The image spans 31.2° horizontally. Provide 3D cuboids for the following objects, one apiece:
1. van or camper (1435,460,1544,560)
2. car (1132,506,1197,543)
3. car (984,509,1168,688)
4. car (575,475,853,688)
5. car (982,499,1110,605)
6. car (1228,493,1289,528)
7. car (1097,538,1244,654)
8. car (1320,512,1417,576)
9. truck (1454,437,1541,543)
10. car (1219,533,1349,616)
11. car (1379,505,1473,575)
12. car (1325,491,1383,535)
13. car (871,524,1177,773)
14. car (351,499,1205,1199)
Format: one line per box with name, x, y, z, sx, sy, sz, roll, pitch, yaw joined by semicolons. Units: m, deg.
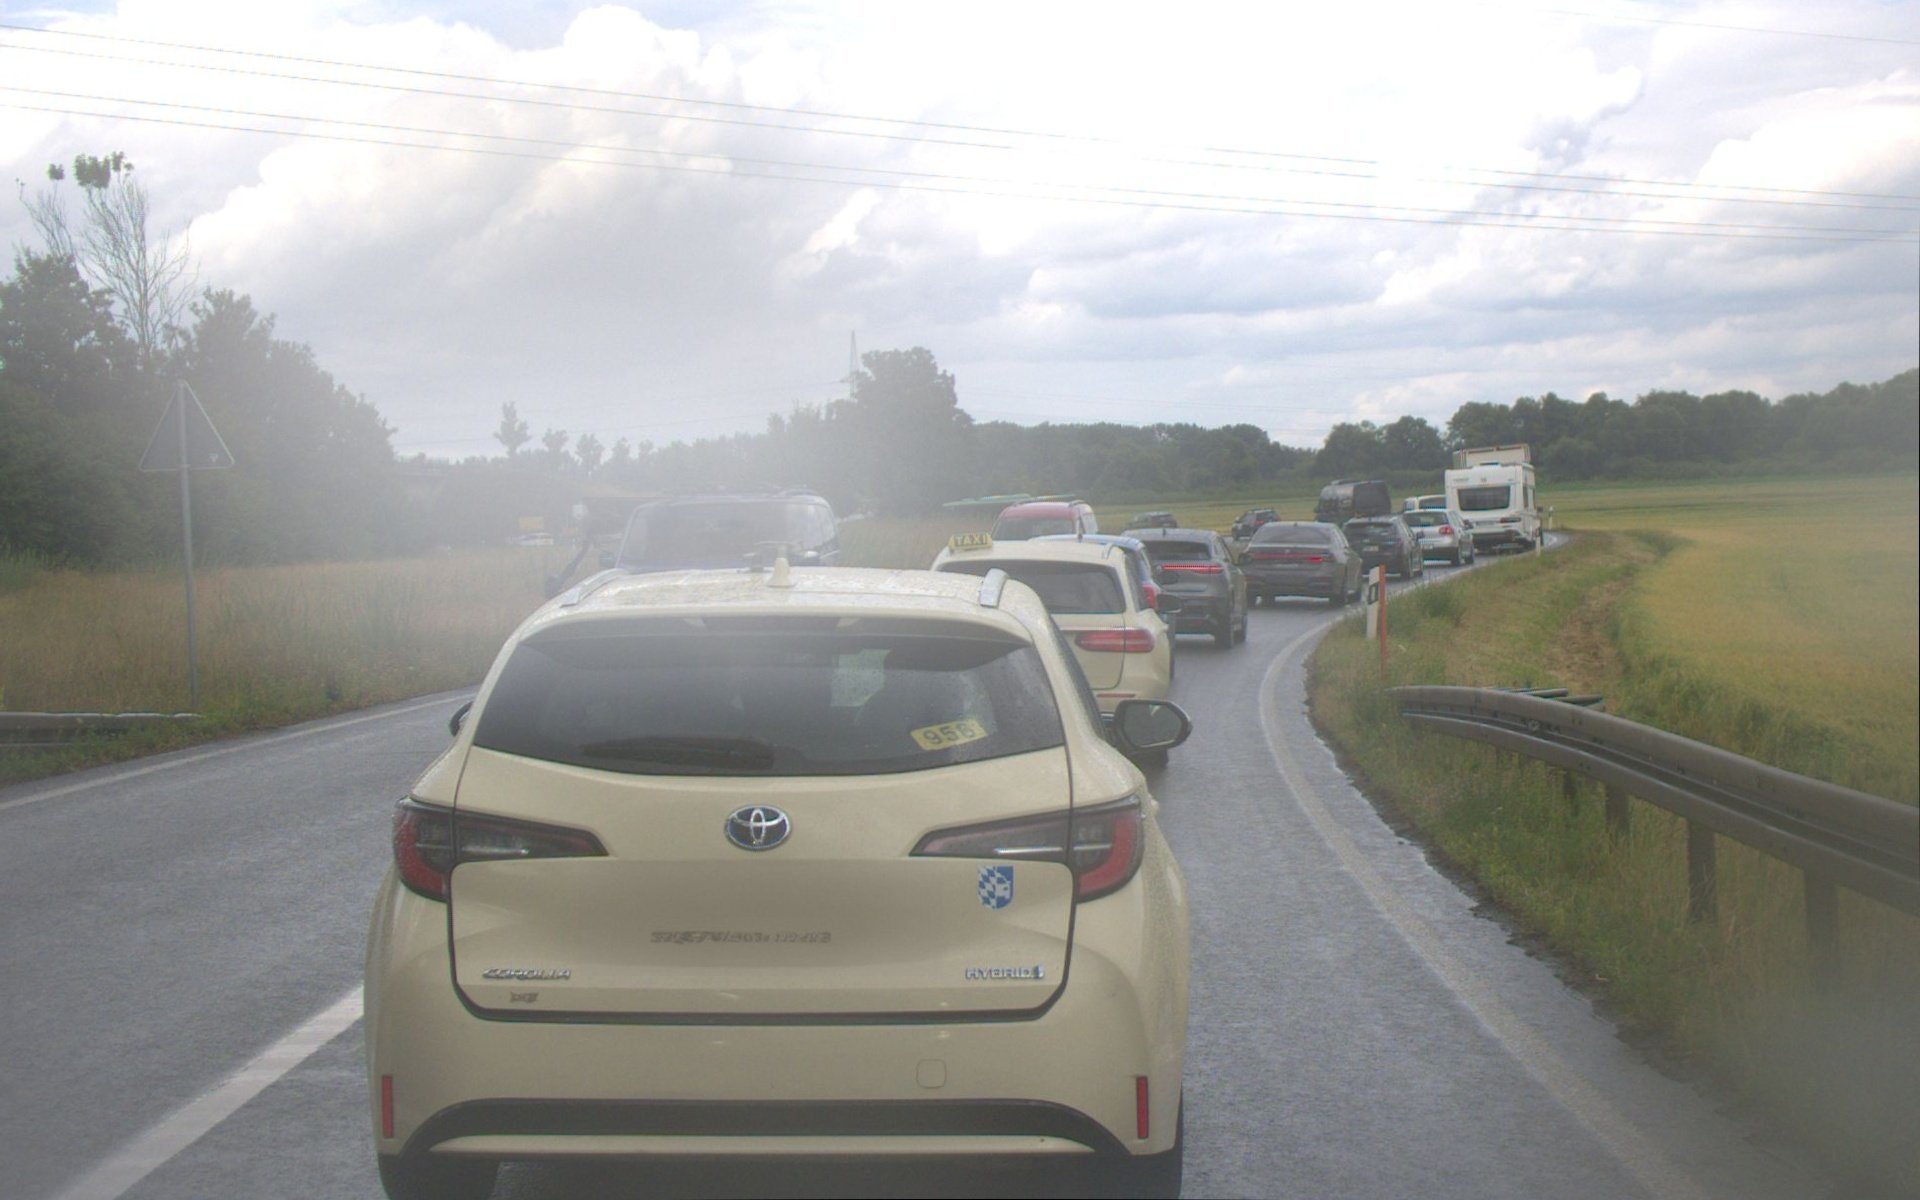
van or camper;16.003;-2.727;103.529;2.538;2.886;6.738;1;2;15
car;11.524;-4.259;194.250;1.911;2.007;4.132;1;1;-25
car;1.200;-0.032;34.170;1.613;1.653;3.738;1;1;5
car;-2.424;-0.202;35.210;1.962;2.007;4.859;1;1;7
car;1.587;-0.855;62.055;1.802;1.844;4.519;0;1;8
car;15.818;-4.739;182.102;1.993;1.761;4.108;1;1;-14
car;2.741;-0.066;44.122;1.613;1.408;3.737;1;1;7
car;9.343;-1.261;78.352;1.826;1.408;3.736;1;1;12
truck;20.618;-4.168;132.012;3.128;3.839;7.384;1;1;9
car;5.851;-0.466;61.717;1.961;1.408;4.390;1;1;10
car;12.019;-1.529;88.590;1.961;1.723;3.736;1;1;14
car;18.844;-4.151;164.654;1.739;2.007;4.148;1;1;-8
car;0.535;0.247;23.529;1.841;1.487;4.608;1;2;4
car;-0.349;0.579;8.433;1.613;1.557;3.738;1;1;0
